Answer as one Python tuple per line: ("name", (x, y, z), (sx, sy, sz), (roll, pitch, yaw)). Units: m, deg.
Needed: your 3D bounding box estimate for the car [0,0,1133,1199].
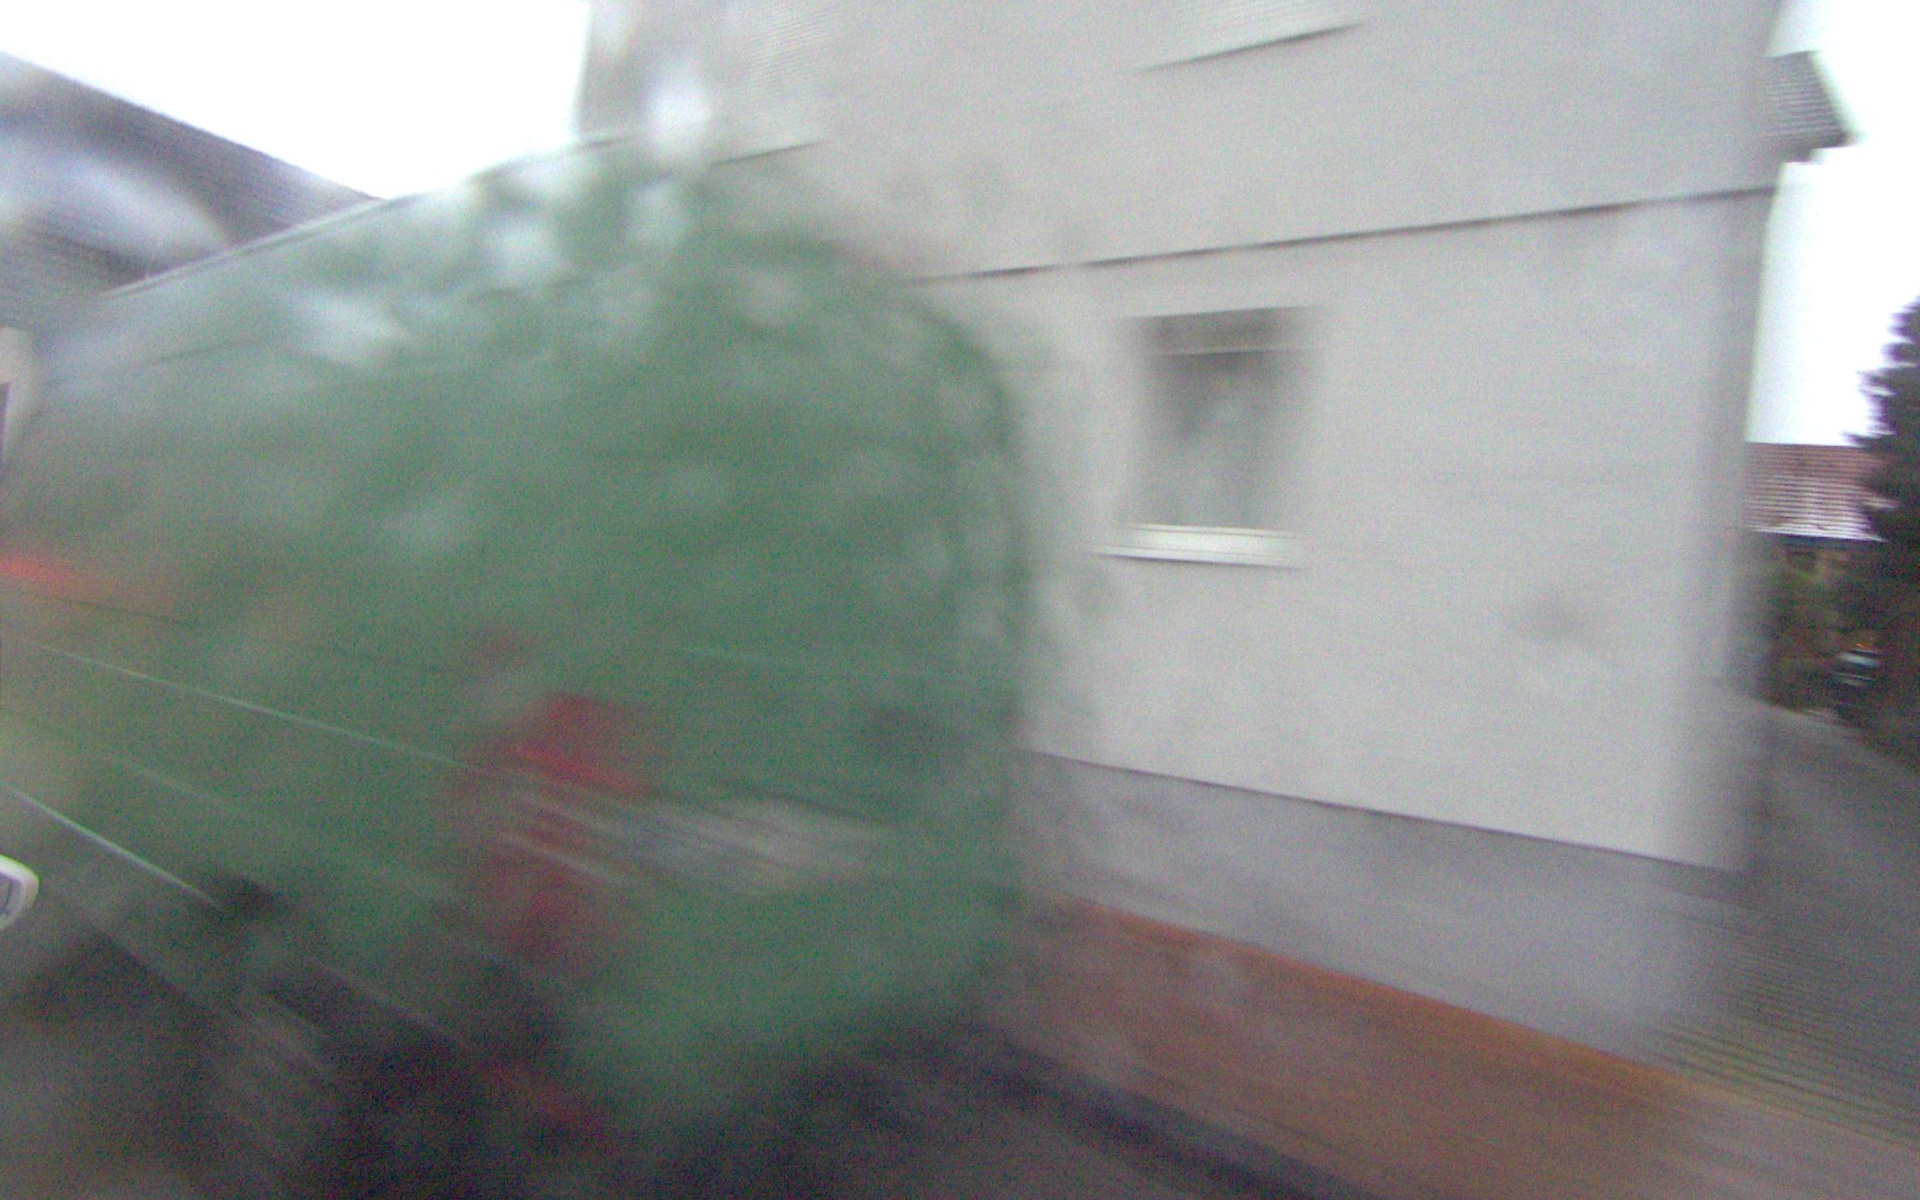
("car", (-2.395, 0.080, 4.015), (5.527, 2.482, 2.011), (6, -2, 35))
